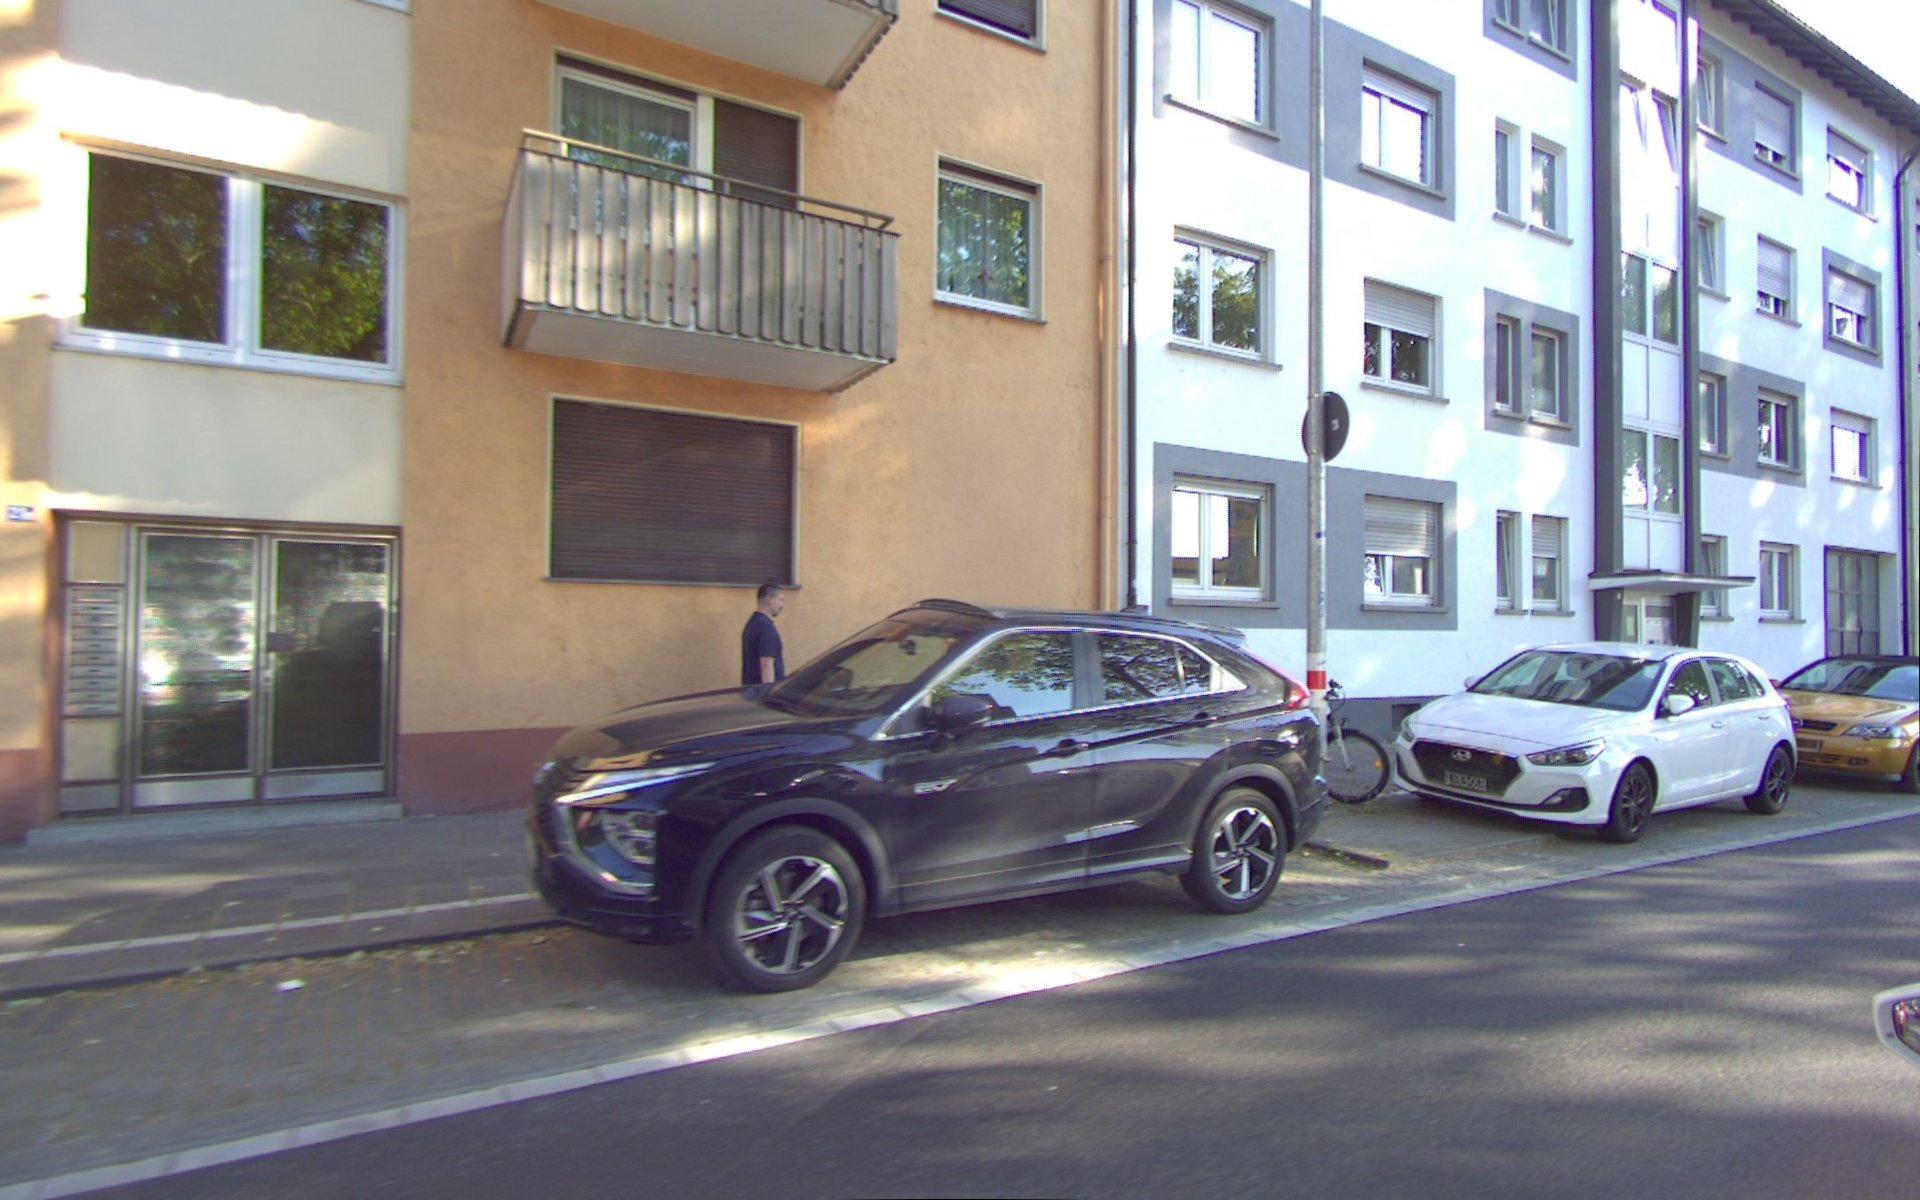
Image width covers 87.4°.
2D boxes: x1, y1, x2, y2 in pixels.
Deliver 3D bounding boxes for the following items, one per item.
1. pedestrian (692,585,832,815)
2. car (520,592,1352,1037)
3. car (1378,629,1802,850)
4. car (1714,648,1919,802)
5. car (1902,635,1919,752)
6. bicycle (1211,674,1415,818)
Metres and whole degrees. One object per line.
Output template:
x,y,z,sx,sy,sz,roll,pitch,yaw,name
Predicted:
-1.661,0.786,8.381,0.922,1.792,0.762,1,0,-30,pedestrian
0.031,0.848,5.540,4.359,1.663,1.589,1,0,-30,car
5.633,1.056,8.869,3.958,1.544,1.540,1,-1,-31,car
10.726,1.319,11.660,4.165,1.453,1.590,1,-1,-29,car
15.573,1.366,14.723,3.793,1.651,1.589,1,0,-31,car
3.012,1.202,8.553,1.688,1.100,0.555,1,-2,-22,bicycle
